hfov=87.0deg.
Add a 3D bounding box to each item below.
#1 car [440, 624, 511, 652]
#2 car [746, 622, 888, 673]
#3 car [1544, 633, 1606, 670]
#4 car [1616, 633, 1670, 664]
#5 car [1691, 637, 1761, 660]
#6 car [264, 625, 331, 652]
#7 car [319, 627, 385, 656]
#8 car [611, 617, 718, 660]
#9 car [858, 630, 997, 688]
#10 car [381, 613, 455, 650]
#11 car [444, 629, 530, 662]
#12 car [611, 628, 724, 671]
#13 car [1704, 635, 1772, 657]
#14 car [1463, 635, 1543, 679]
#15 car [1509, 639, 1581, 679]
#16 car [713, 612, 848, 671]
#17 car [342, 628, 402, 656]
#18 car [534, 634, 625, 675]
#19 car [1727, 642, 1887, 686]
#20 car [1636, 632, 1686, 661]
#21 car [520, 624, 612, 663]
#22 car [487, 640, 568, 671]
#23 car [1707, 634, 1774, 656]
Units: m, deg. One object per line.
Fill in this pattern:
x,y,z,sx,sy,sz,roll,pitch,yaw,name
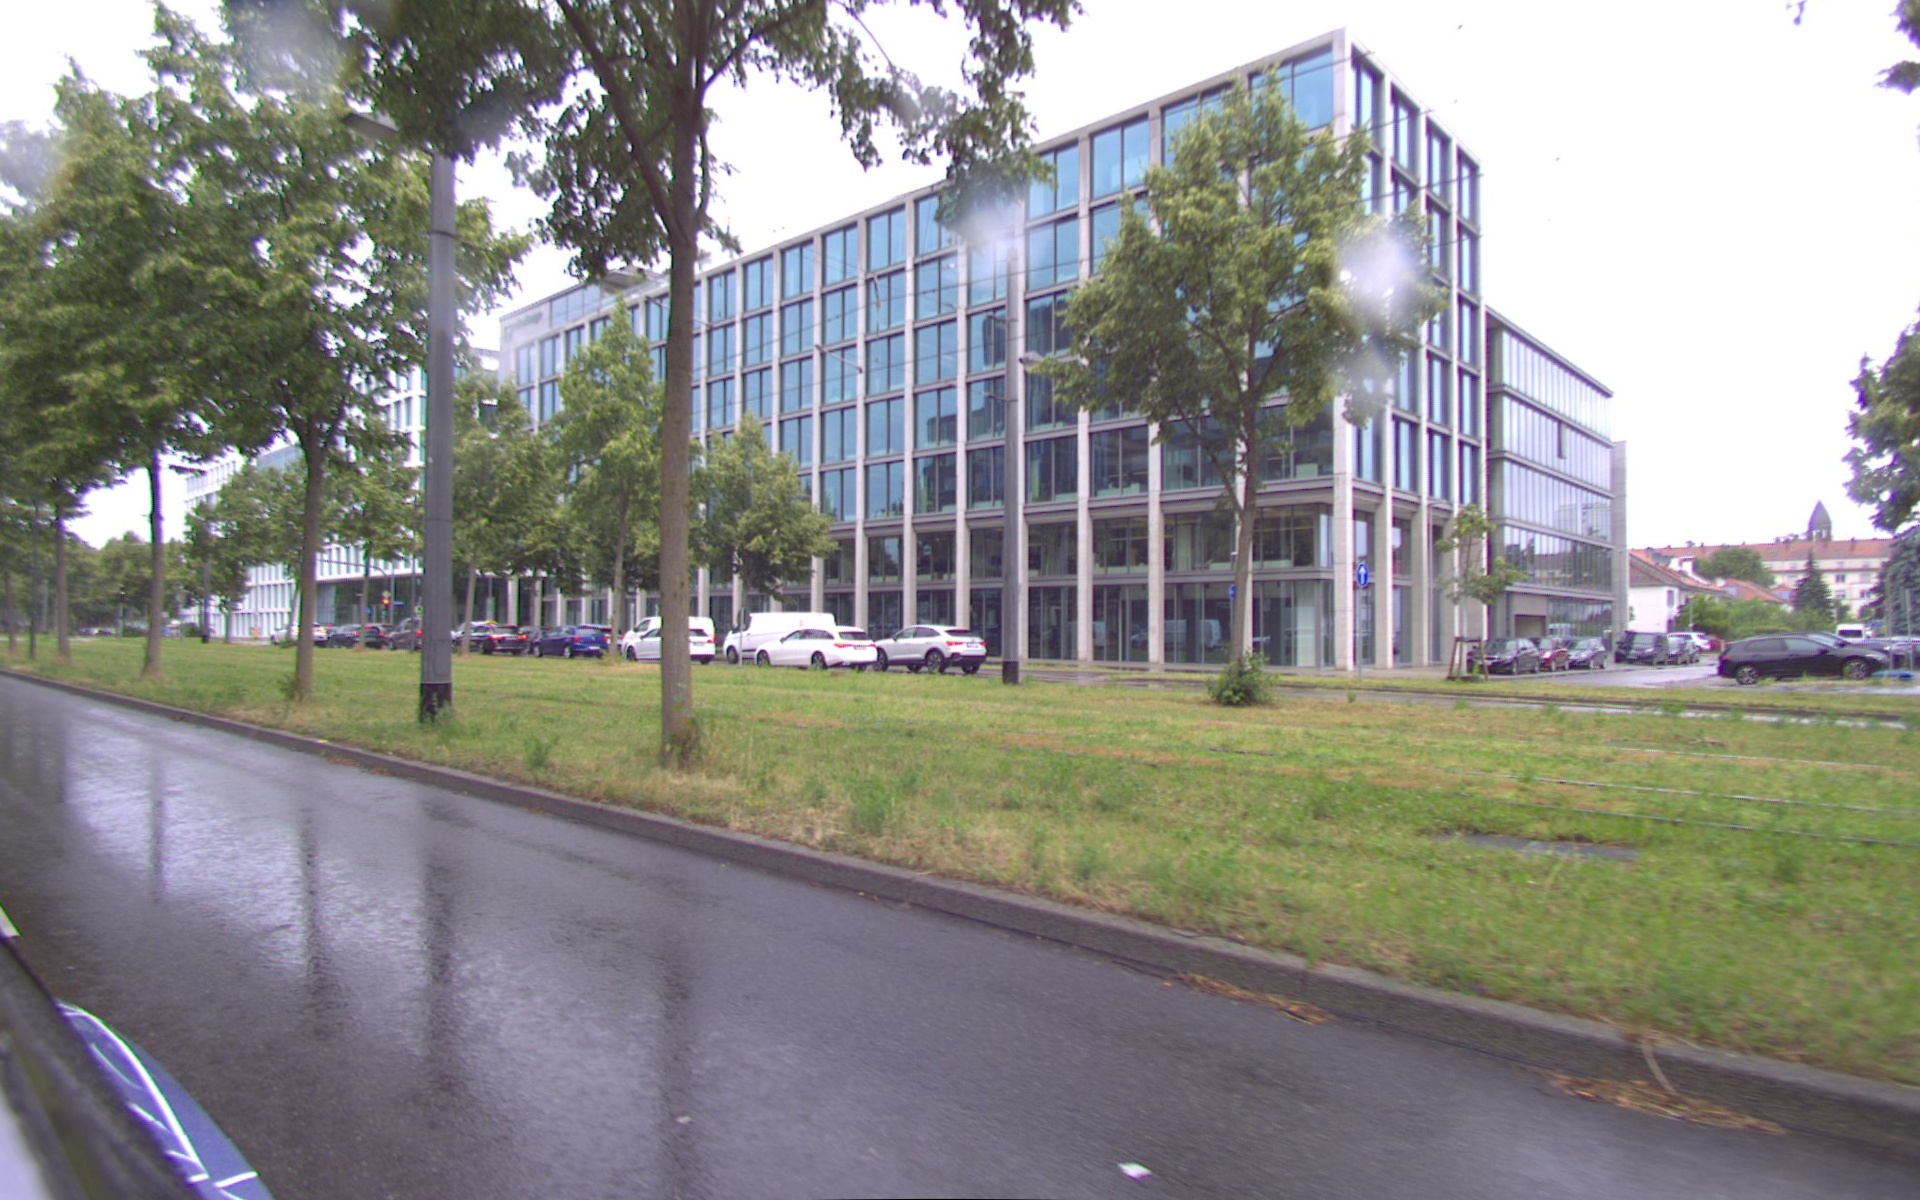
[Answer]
-26.837,2.124,56.008,4.266,1.396,1.932,-4,-4,38,car
-4.642,1.552,32.351,4.832,1.472,1.929,-5,-4,44,car
28.982,2.406,47.649,3.562,1.621,1.598,1,-4,-45,car
38.685,2.719,57.301,1.745,1.621,4.174,-5,-4,44,car
59.630,3.776,78.895,4.229,1.621,1.722,-4,-4,37,car
-37.010,2.126,56.500,4.573,1.463,1.931,-1,-2,40,car
-35.014,2.425,58.204,4.460,1.571,1.931,-3,-3,40,car
-12.873,1.694,43.936,5.023,1.664,1.932,-4,-4,38,car
-1.134,1.870,33.148,4.577,1.762,1.929,-2,-2,44,car
-28.458,1.678,53.089,4.539,1.863,1.931,-3,-3,40,car
-22.313,2.146,47.698,4.600,1.396,1.931,-4,-4,40,car
-11.101,1.830,38.302,4.573,1.525,1.931,-1,-2,40,car
63.091,3.720,82.130,4.229,1.621,1.722,-4,-4,37,car
21.496,2.236,40.029,1.745,1.621,3.746,-5,-4,44,car
25.908,2.583,44.759,1.745,1.621,4.100,-5,-4,44,car
-6.938,1.631,38.718,5.370,2.022,2.244,-4,-4,42,car
-37.750,2.671,64.972,4.267,1.707,1.931,-1,-2,39,car
-18.038,2.589,47.845,4.627,1.759,1.932,-4,-4,38,car
25.941,1.982,31.157,3.654,1.249,1.486,-4,-4,38,car
42.703,2.824,61.590,1.745,1.621,4.174,-5,-4,44,car
-16.746,1.876,42.938,3.957,1.506,1.932,-4,-4,38,car
-22.079,2.857,51.618,4.619,1.457,1.840,-4,-4,38,car
64.619,3.735,83.859,4.229,1.621,1.722,-4,-4,37,car
